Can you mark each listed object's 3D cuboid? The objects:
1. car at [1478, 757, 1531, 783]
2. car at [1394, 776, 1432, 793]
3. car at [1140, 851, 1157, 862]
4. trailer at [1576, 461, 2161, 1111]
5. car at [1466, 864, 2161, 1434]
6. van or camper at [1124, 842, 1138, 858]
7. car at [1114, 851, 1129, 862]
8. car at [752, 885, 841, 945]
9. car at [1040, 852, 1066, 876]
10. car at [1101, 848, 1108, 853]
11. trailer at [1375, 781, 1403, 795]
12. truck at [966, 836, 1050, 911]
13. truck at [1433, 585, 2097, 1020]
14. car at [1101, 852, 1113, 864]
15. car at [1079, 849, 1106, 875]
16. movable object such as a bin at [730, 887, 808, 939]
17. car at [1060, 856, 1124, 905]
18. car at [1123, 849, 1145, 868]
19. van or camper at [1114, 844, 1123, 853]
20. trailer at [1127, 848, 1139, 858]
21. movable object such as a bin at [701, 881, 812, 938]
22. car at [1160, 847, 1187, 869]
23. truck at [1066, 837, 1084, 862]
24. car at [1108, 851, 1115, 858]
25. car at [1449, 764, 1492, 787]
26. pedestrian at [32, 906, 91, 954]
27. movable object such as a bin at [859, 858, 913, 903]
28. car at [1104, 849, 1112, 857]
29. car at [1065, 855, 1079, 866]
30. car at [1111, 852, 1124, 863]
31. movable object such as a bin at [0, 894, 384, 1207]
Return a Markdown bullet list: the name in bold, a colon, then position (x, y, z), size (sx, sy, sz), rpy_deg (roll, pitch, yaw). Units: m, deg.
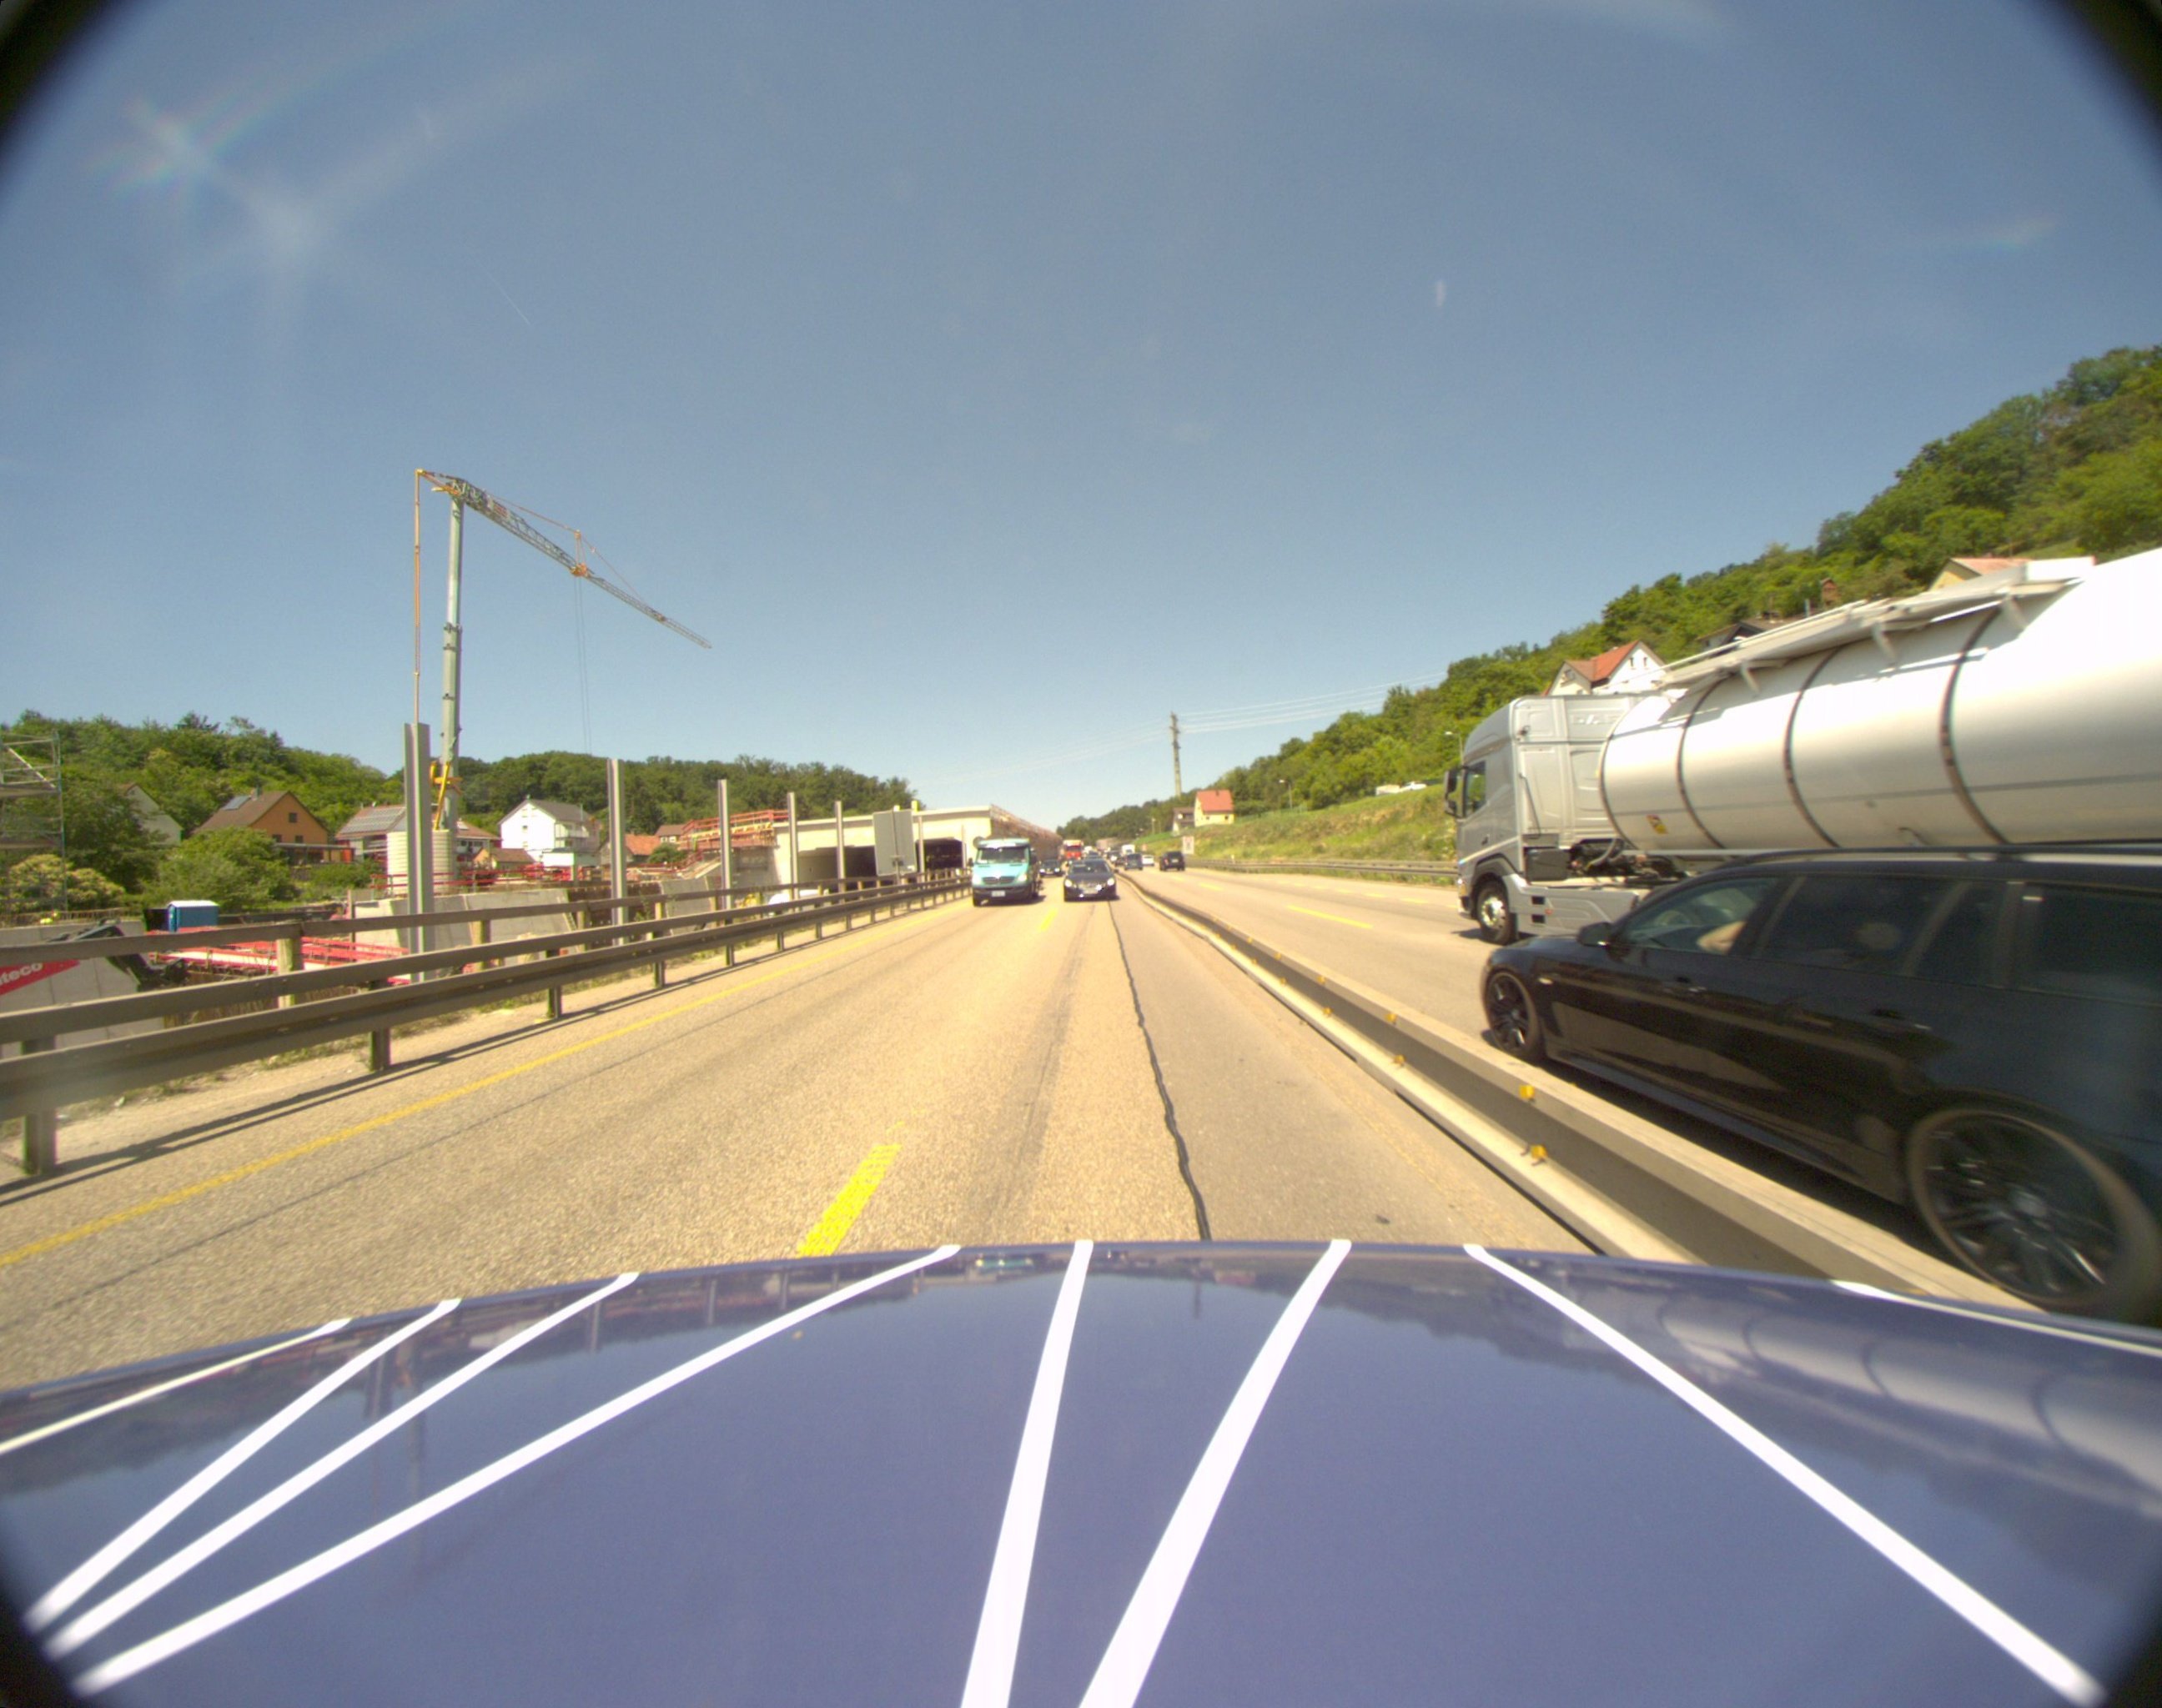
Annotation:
- **car**: position (41.125, -8.179, 73.970), size (2.077, 1.997, 4.970), rpy_deg (-2, 1, -4)
- **car**: position (39.076, -8.128, 89.546), size (2.000, 1.646, 4.548), rpy_deg (-2, 1, -8)
- **car**: position (8.923, 0.317, 100.142), size (1.808, 1.488, 4.599), rpy_deg (-2, 0, 0)
- **trailer**: position (7.297, -0.405, 3.209), size (2.723, 3.573, 11.794), rpy_deg (-2, 0, 0)
- **car**: position (3.835, 0.806, 3.430), size (1.899, 1.406, 4.679), rpy_deg (-2, 0, 2)
- **van or camper**: position (10.336, -0.828, 157.437), size (2.297, 3.048, 6.923), rpy_deg (-2, 0, 1)
- **car**: position (5.427, 0.283, 102.702), size (1.802, 1.458, 4.355), rpy_deg (-1, 0, 1)
- **car**: position (-17.003, 3.534, 45.997), size (2.149, 2.840, 7.023), rpy_deg (-2, 1, 5)
- **car**: position (-2.253, 0.783, 62.281), size (1.885, 1.805, 4.249), rpy_deg (-2, 1, 1)
- **car**: position (6.846, -0.969, 219.736), size (1.847, 1.467, 4.834), rpy_deg (-2, 0, 1)
- **trailer**: position (38.353, -8.213, 94.739), size (1.908, 1.507, 3.034), rpy_deg (-3, 1, -10)
- **truck**: position (-2.535, 0.553, 28.423), size (2.139, 2.344, 7.432), rpy_deg (-2, 1, 2)
- **truck**: position (7.373, -0.445, 9.708), size (2.786, 3.651, 6.277), rpy_deg (-2, 0, 0)
- **car**: position (4.802, 0.758, 140.003), size (1.915, 2.002, 4.905), rpy_deg (-2, 0, 0)
- **car**: position (0.927, 0.590, 57.983), size (1.884, 1.805, 4.250), rpy_deg (-2, 1, 3)
- **movable object such as a bin**: position (-19.740, 3.677, 48.350), size (2.149, 2.661, 5.501), rpy_deg (-2, 1, 5)
- **car**: position (0.404, 0.859, 26.661), size (1.998, 1.441, 4.601), rpy_deg (-2, 1, 2)
- **car**: position (5.281, 0.403, 76.274), size (1.850, 1.767, 4.882), rpy_deg (-2, 0, 1)
- **van or camper**: position (10.932, -1.586, 222.667), size (2.145, 2.558, 6.564), rpy_deg (-3, 0, 1)
- **trailer**: position (10.324, -0.218, 151.561), size (2.106, 1.883, 5.141), rpy_deg (-2, 0, 1)
- **movable object such as a bin**: position (-24.614, 4.219, 57.665), size (7.141, 2.883, 3.503), rpy_deg (-11, -2, 23)
- **car**: position (8.049, 0.338, 66.123), size (1.832, 1.755, 4.497), rpy_deg (-1, 0, 1)
- **truck**: position (-0.973, -0.854, 134.359), size (2.750, 4.222, 9.093), rpy_deg (-2, 1, 1)
- **car**: position (6.363, 0.052, 159.409), size (1.487, 1.496, 2.805), rpy_deg (-2, 0, 1)
- **car**: position (40.477, -8.137, 79.070), size (1.999, 1.861, 4.428), rpy_deg (-2, 1, -5)
- **pedestrian**: position (-44.559, 3.309, 33.221), size (1.140, 1.976, 0.972), rpy_deg (-2, 2, 5)
- **movable object such as a bin**: position (-20.212, 2.619, 79.327), size (2.961, 4.040, 9.154), rpy_deg (-2, 1, 1)
- **car**: position (6.648, -0.188, 185.968), size (1.842, 1.817, 5.040), rpy_deg (-2, 0, 0)
- **car**: position (-1.306, 0.971, 113.568), size (1.883, 1.532, 4.281), rpy_deg (-2, 1, 1)
- **car**: position (5.816, 0.585, 121.595), size (1.811, 1.630, 4.172), rpy_deg (-2, 0, 0)
- **movable object such as a bin**: position (-19.764, 3.566, 14.725), size (3.235, 4.716, 9.653), rpy_deg (-2, 1, 1)
